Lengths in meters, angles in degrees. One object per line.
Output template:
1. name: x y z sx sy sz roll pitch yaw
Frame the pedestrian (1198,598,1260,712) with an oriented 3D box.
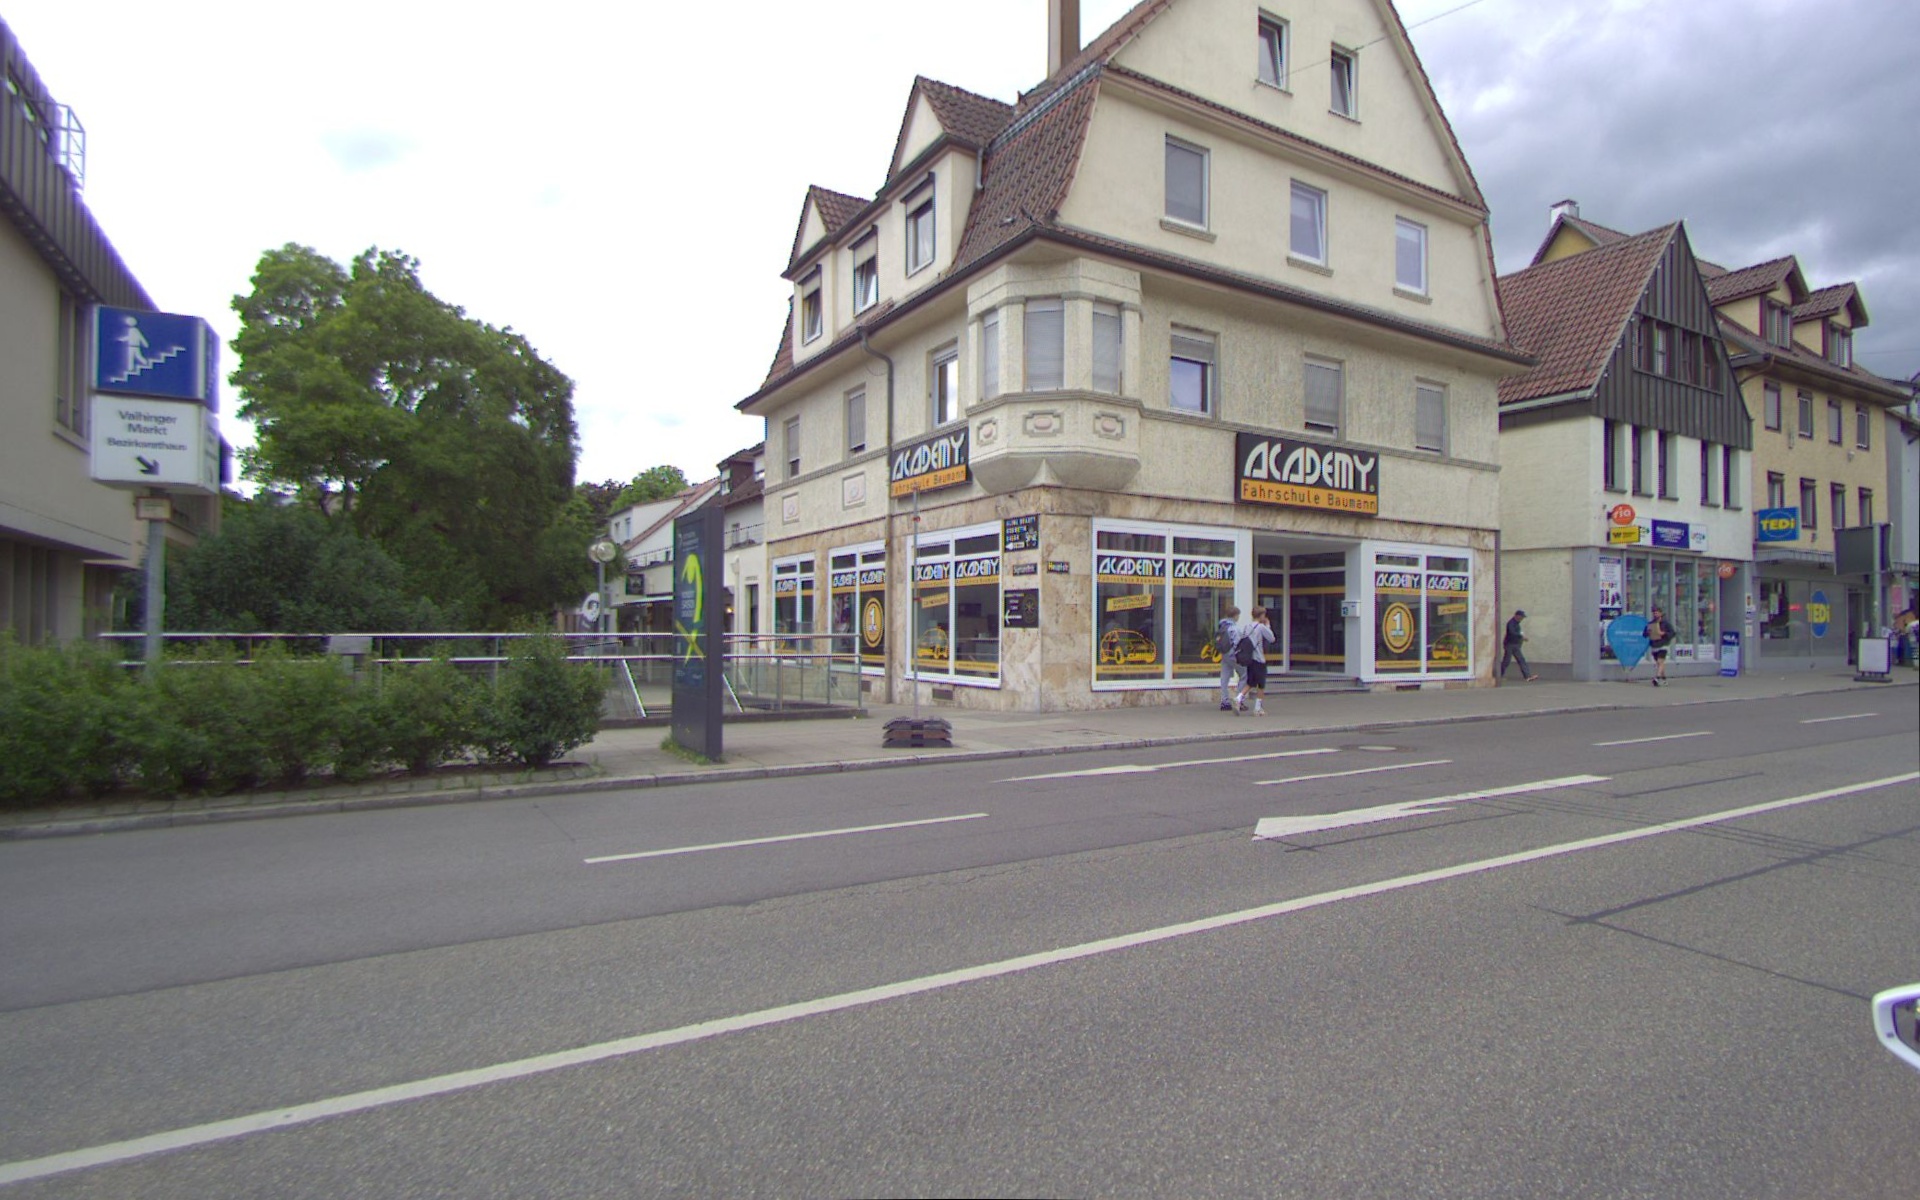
1. pedestrian: 4.352 0.876 16.286 0.673 1.784 0.684 1 -2 -31

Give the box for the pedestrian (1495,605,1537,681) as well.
1. pedestrian: 13.448 1.018 24.320 0.791 1.770 0.868 2 2 28

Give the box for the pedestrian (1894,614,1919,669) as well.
1. pedestrian: 29.531 1.268 31.027 0.971 1.656 0.811 1 1 -36

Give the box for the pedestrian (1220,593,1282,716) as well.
1. pedestrian: 4.507 0.831 15.572 0.673 1.848 0.630 1 -2 -31

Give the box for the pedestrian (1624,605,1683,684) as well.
1. pedestrian: 16.271 1.022 23.575 0.798 1.770 0.861 0 2 -35

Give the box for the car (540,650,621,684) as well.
1. car: -18.315 3.196 48.522 3.467 1.543 1.609 1 -2 -31
